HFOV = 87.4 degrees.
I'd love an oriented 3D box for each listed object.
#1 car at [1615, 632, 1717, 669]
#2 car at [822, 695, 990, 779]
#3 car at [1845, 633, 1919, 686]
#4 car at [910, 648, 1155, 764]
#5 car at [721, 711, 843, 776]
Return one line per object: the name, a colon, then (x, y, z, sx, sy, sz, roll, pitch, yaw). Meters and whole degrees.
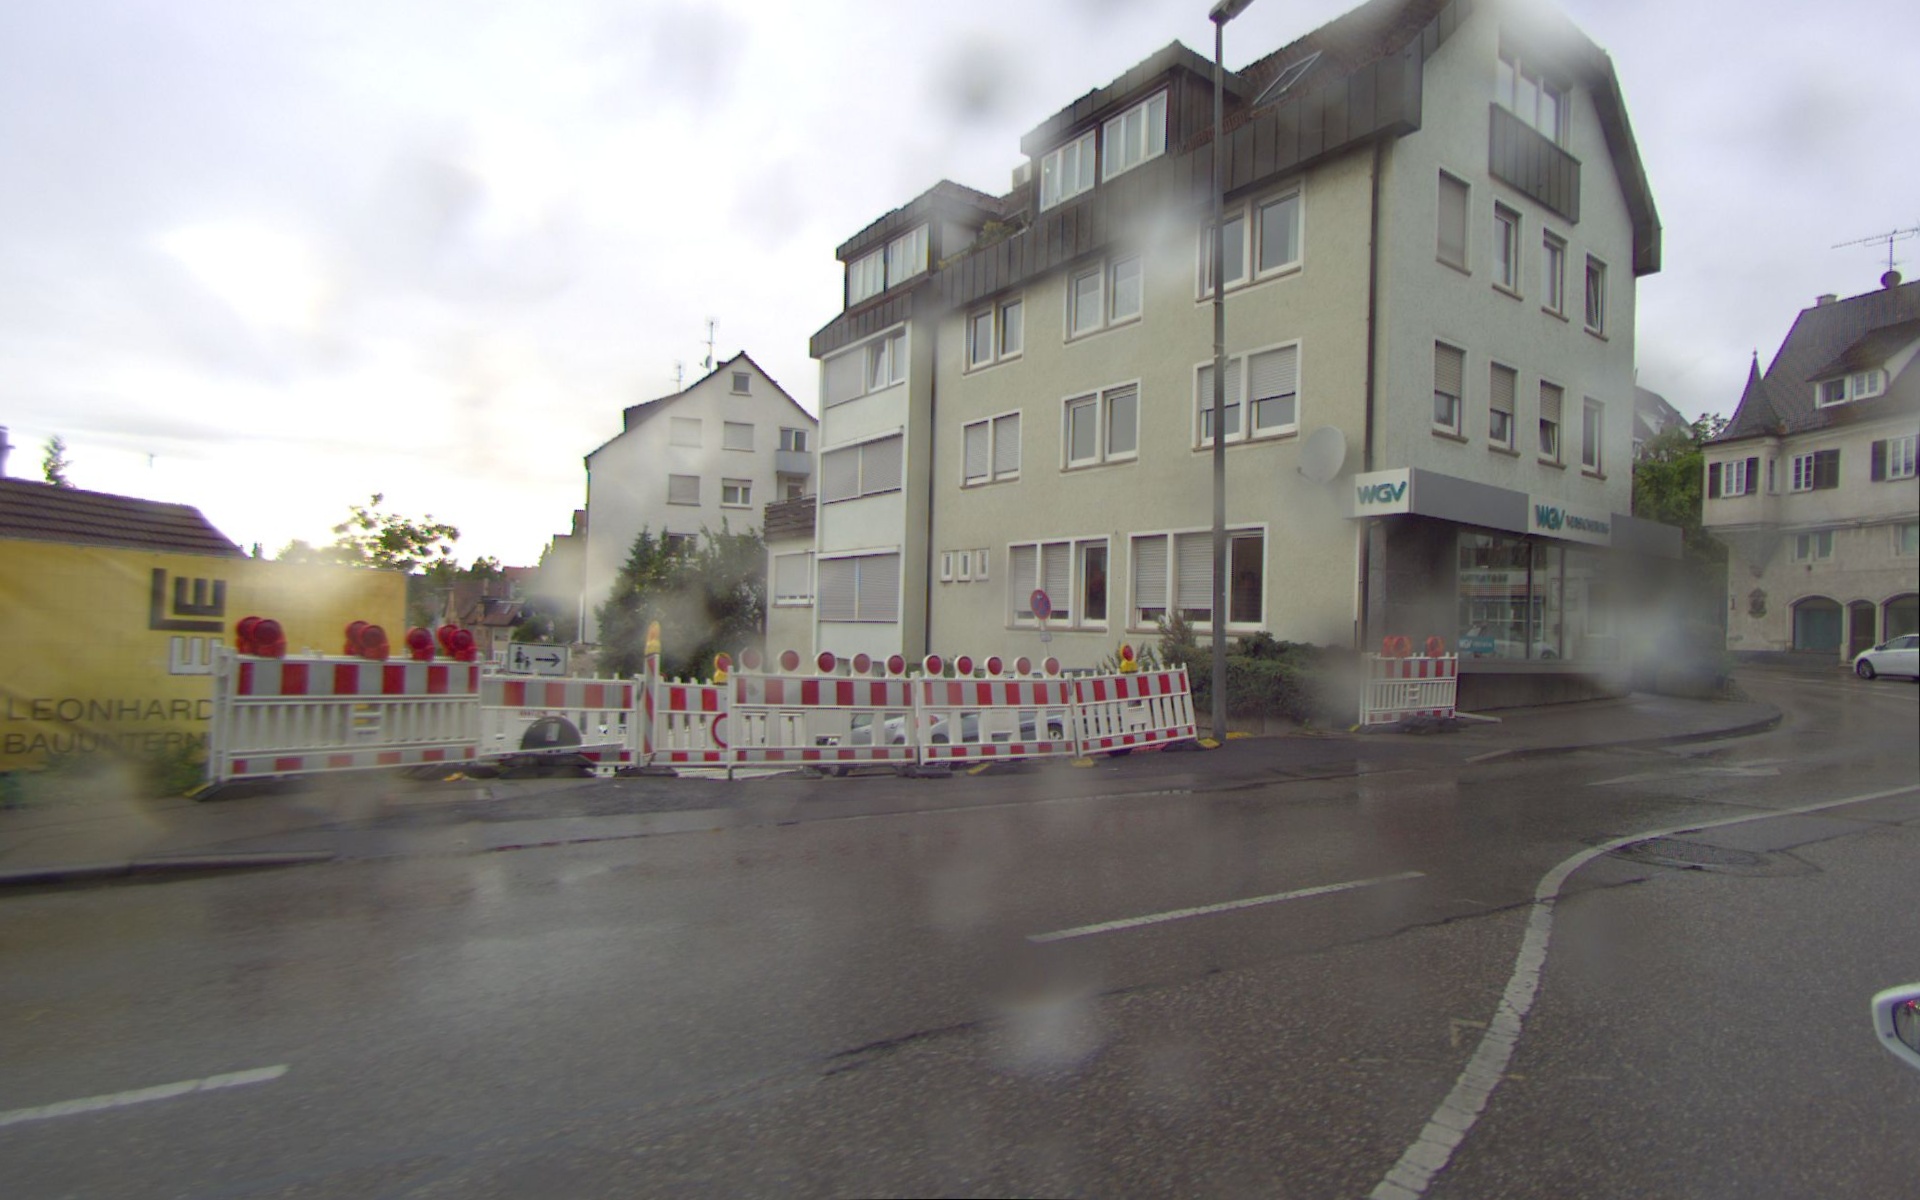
car: (29.746, 2.113, 42.458, 1.494, 1.380, 3.766, 0, 0, -3)
car: (-1.099, 2.620, 18.978, 1.485, 1.327, 3.426, -1, -8, -36)
car: (29.605, 1.824, 30.741, 1.755, 1.485, 4.166, 0, 0, 8)
car: (0.972, 1.623, 14.956, 1.637, 1.407, 3.475, 0, -8, -39)
car: (-4.321, 3.460, 24.044, 1.485, 1.327, 3.426, -1, -8, -36)
